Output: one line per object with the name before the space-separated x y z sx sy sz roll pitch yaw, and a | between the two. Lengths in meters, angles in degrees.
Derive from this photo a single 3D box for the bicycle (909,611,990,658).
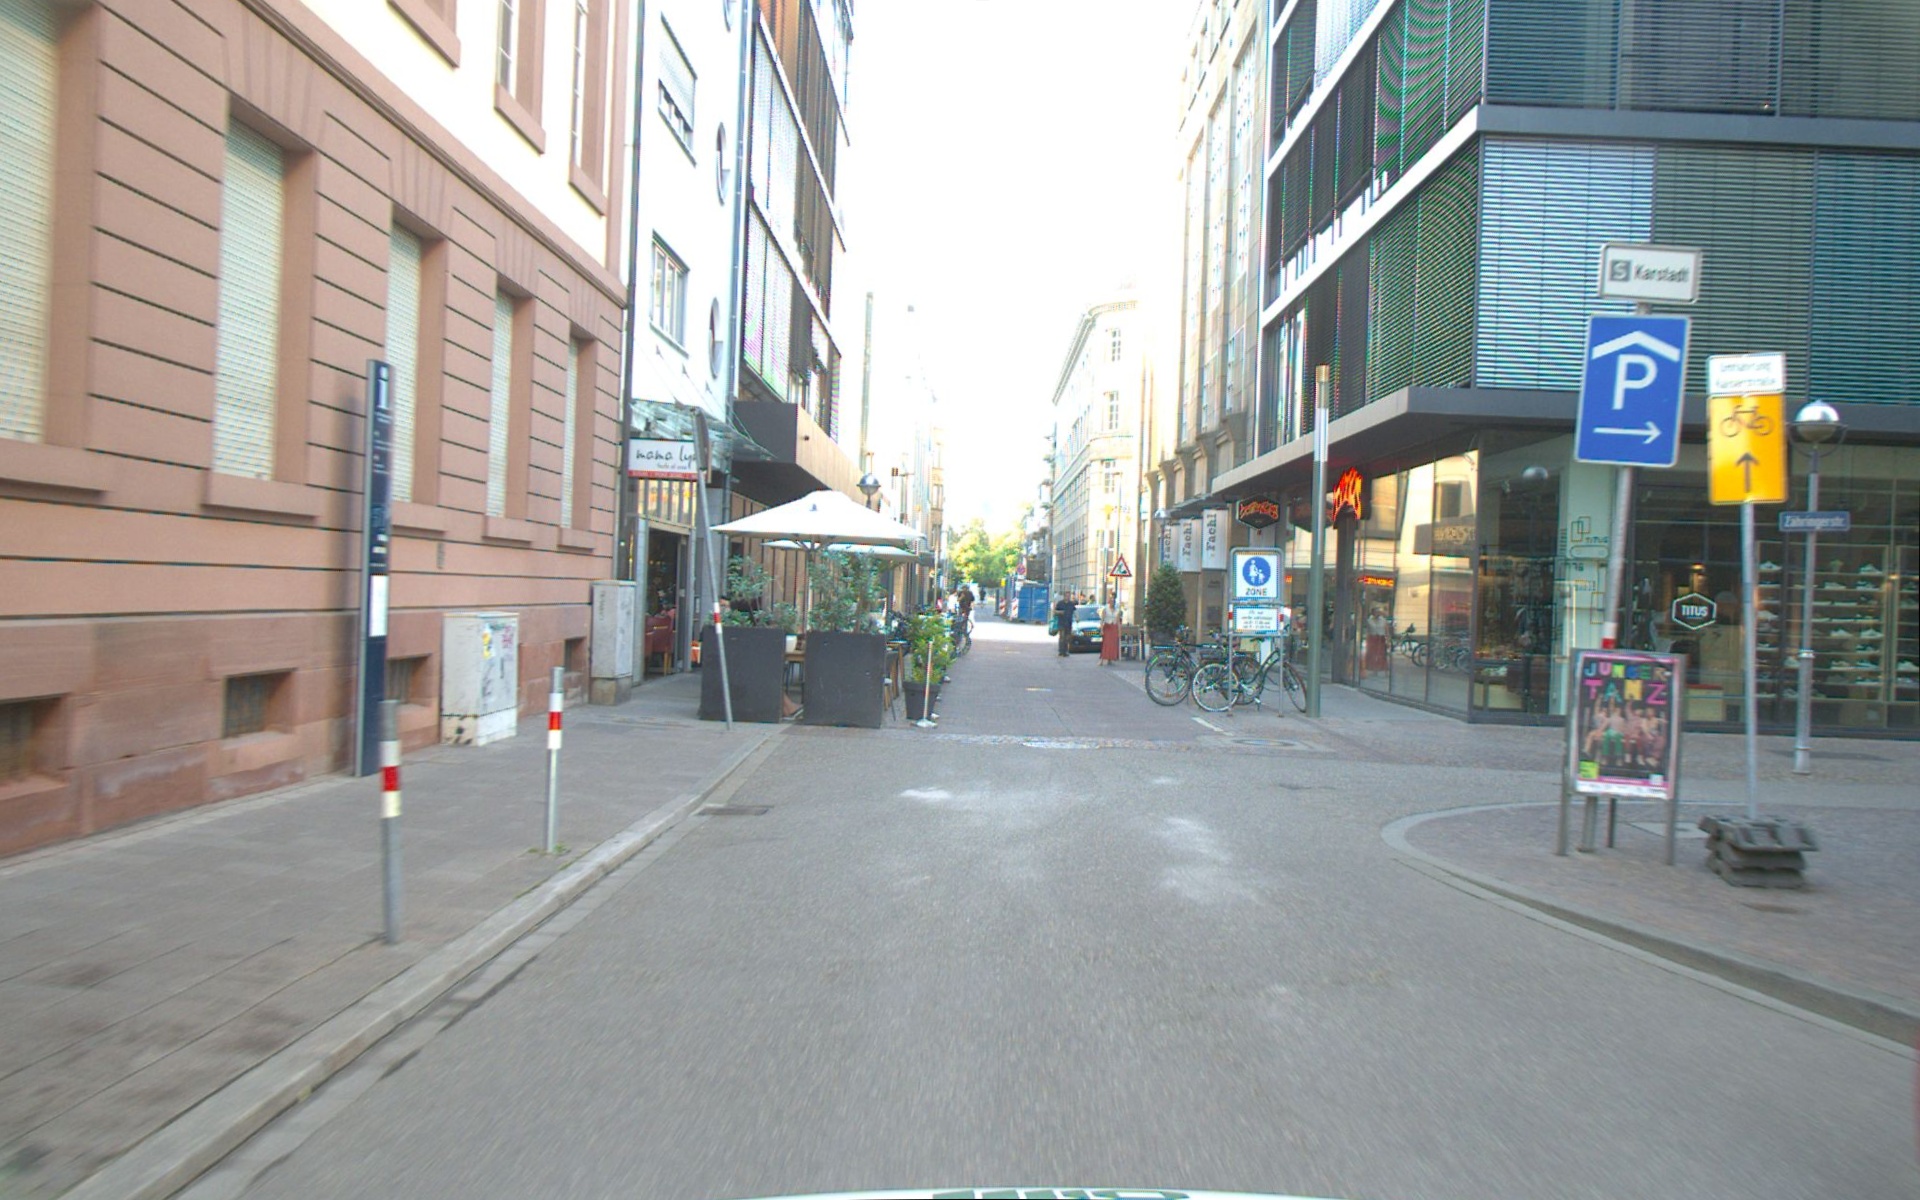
bicycle | -0.270 0.873 42.309 2.006 1.034 0.467 4 0 0

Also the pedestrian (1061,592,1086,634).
pedestrian | 4.606 0.525 67.383 0.886 1.690 0.793 2 0 -2

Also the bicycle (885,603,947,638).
bicycle | -1.470 0.696 55.849 2.006 1.030 0.467 4 0 0

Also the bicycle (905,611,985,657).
bicycle | -0.395 0.885 43.404 2.006 1.034 0.467 4 0 0

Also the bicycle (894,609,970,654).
bicycle | -0.763 0.860 45.019 2.006 1.068 0.467 4 0 0

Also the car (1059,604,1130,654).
car | 4.139 0.868 51.364 1.719 1.466 3.926 1 0 -2

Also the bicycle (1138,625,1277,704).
bicycle | 3.641 0.948 24.398 1.968 1.141 0.467 0 0 0

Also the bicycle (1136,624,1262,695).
bicycle | 3.898 0.962 27.070 1.992 1.141 0.467 0 0 0

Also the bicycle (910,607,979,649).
bicycle | -0.467 0.845 49.722 2.006 1.114 0.467 4 0 0

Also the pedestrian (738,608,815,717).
pedestrian | -2.139 0.721 19.324 0.774 1.204 0.673 3 0 -1

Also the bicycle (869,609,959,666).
bicycle | -1.011 0.823 36.456 1.908 1.093 0.467 4 0 0

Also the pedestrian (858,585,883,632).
pedestrian | -3.690 0.341 68.248 0.886 1.892 0.836 2 0 0

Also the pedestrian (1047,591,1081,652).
pedestrian | 2.964 0.614 47.224 0.880 1.690 0.930 2 0 2

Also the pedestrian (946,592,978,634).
pedestrian | 0.080 0.562 71.691 0.991 1.764 0.979 2 0 32

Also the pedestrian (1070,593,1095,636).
pedestrian | 4.952 0.588 66.670 0.886 1.690 0.793 2 0 -2

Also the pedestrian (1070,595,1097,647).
pedestrian | 4.596 0.772 61.409 0.886 1.892 0.835 2 0 -1

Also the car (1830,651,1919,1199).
car | 3.128 0.938 2.588 1.581 1.449 3.597 6 0 1

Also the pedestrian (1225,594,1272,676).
pedestrian | 5.773 0.689 33.092 0.781 1.593 0.859 2 0 3

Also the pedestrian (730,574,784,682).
pedestrian | -3.234 0.433 26.378 0.775 1.677 0.725 2 0 -5

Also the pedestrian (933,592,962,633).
pedestrian | -0.551 0.550 72.448 0.846 1.764 0.931 2 0 32

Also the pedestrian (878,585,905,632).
pedestrian | -2.842 0.358 68.832 1.004 1.892 0.906 2 0 0

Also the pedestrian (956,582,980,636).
pedestrian | 0.290 0.311 59.534 0.816 1.892 0.907 2 0 -1

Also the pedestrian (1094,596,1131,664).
pedestrian | 3.666 0.721 39.882 0.781 1.593 0.859 2 0 1

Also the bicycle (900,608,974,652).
bicycle | -0.648 0.832 46.344 2.006 1.068 0.467 4 0 0

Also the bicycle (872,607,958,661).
bicycle | -1.027 0.779 38.145 1.908 1.093 0.467 4 0 0

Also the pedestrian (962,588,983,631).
pedestrian | 0.572 0.431 75.847 0.886 1.892 0.836 2 0 0

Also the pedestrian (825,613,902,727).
pedestrian | -1.088 0.777 18.543 0.775 1.204 0.673 3 0 -5

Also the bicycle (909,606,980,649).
bicycle | -0.450 0.813 48.882 2.006 1.114 0.467 4 0 0

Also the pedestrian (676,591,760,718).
pedestrian | -2.694 0.599 18.505 0.774 1.354 0.673 3 0 -1

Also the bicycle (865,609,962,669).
bicycle | -0.955 0.807 34.261 1.908 1.093 0.467 4 0 0

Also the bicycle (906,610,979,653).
bicycle | -0.502 0.907 47.721 2.006 1.068 0.467 4 0 0

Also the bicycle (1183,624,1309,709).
bicycle | 3.945 0.915 22.848 1.662 1.156 0.467 0 0 0
